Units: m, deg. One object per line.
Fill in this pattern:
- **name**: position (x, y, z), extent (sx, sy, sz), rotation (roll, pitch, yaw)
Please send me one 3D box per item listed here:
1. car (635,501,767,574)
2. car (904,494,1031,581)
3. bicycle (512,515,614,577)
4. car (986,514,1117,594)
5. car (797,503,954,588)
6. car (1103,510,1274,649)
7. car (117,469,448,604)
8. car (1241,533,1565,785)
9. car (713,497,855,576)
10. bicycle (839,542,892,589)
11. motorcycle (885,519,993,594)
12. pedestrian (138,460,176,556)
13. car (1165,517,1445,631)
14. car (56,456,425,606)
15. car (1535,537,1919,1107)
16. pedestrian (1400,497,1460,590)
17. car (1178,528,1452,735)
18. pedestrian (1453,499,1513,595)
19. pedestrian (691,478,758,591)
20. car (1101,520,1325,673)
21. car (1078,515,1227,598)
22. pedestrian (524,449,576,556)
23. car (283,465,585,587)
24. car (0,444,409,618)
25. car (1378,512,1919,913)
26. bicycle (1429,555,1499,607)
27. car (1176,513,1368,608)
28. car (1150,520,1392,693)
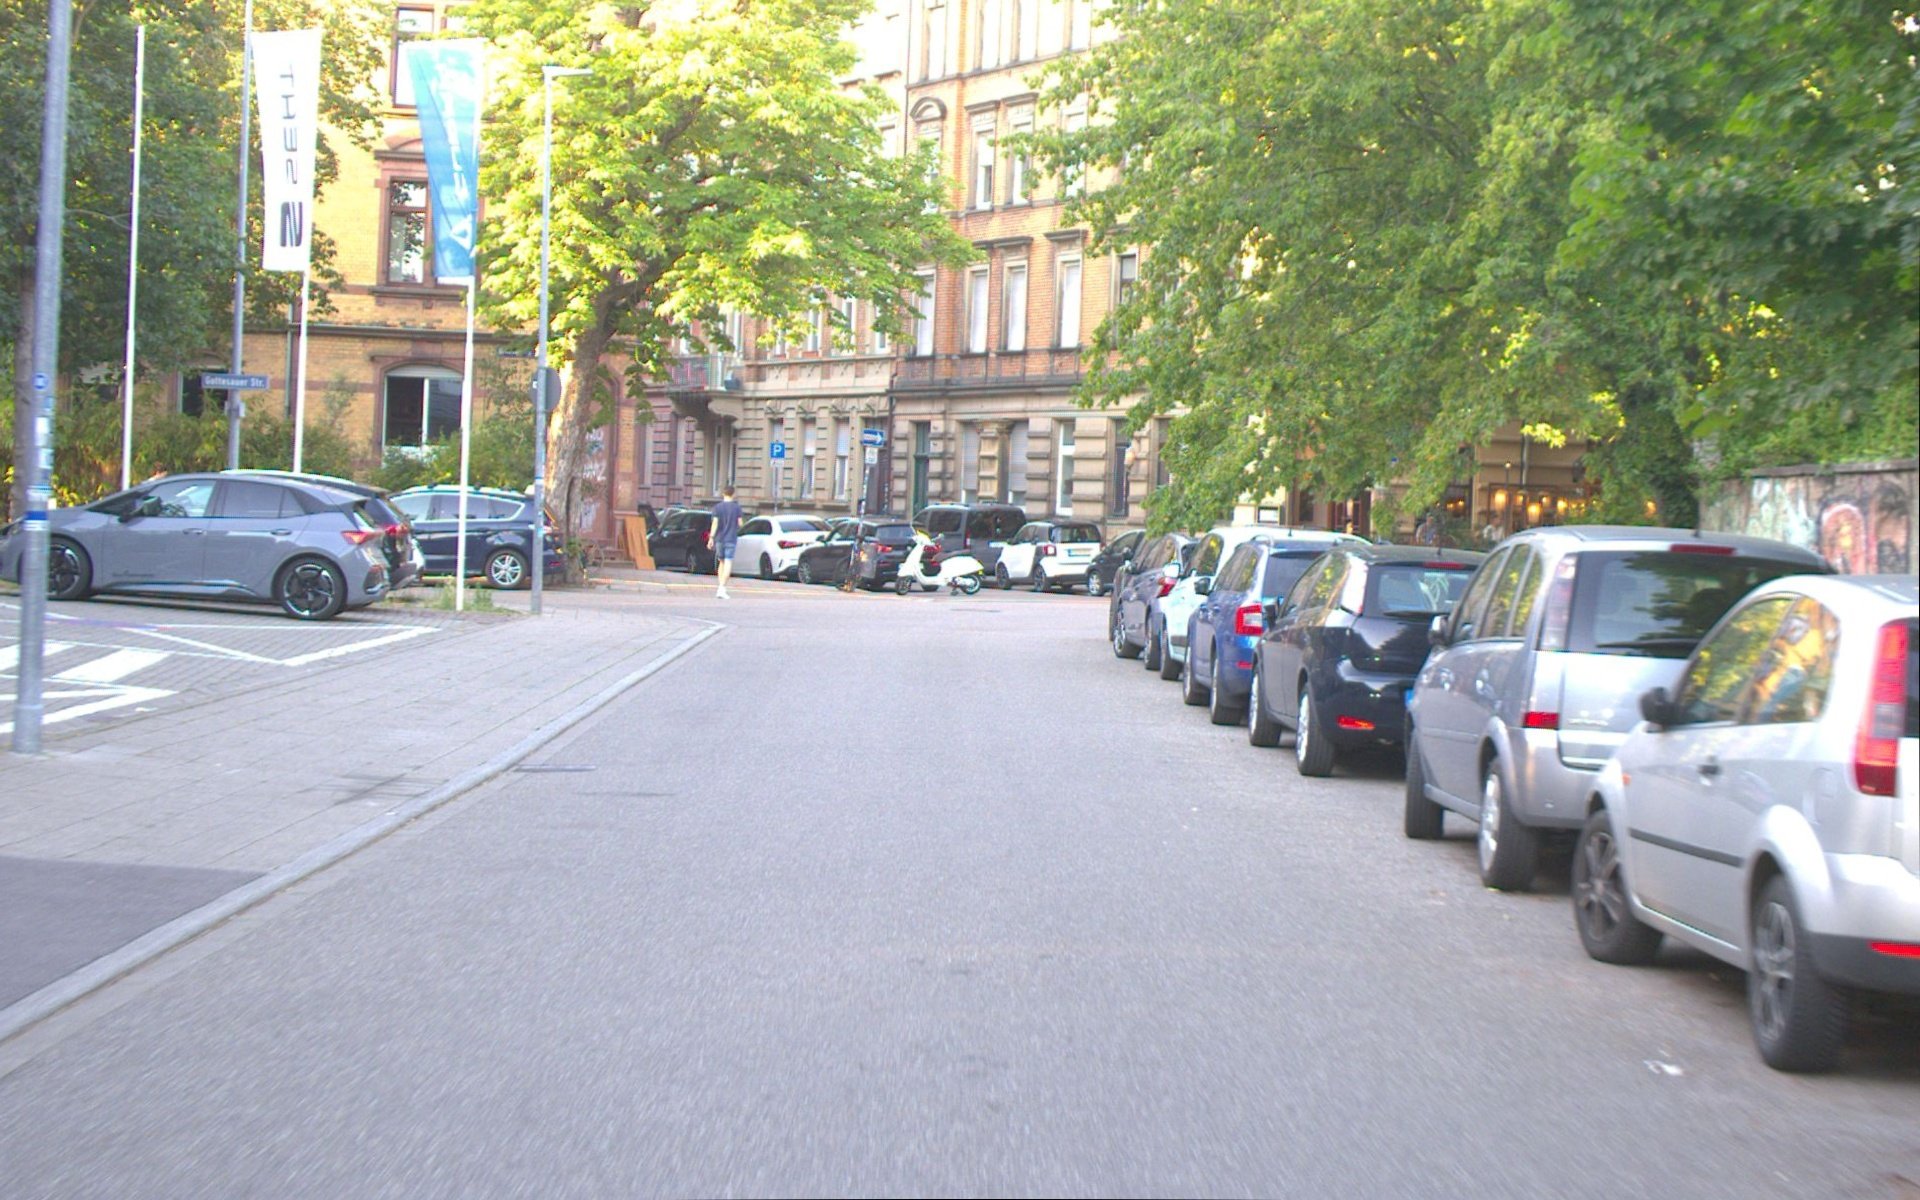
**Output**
- **car**: position (-5.871, -1.426, 77.620), extent (1.654, 1.426, 3.897), rotation (2, 3, -25)
- **car**: position (0.145, -1.416, 77.281), extent (1.674, 1.776, 3.016), rotation (2, 2, -25)
- **bicycle**: position (-6.930, -0.944, 60.015), extent (1.671, 1.024, 0.446), rotation (1, 2, -24)
- **car**: position (1.946, -0.997, 73.774), extent (1.674, 1.520, 2.768), rotation (2, 2, -25)
- **car**: position (-1.722, -1.107, 68.675), extent (1.654, 1.426, 3.991), rotation (2, 3, -24)
- **car**: position (2.755, -0.294, 42.197), extent (1.695, 1.565, 3.972), rotation (2, 1, -1)
- **car**: position (-8.993, -0.860, 45.902), extent (4.045, 1.470, 1.921), rotation (4, 2, -4)
- **car**: position (2.899, 0.330, 23.189), extent (1.596, 1.471, 3.774), rotation (2, 1, -1)
- **car**: position (-3.772, -1.369, 73.127), extent (1.654, 1.426, 4.169), rotation (2, 3, -23)
- **bicycle**: position (-1.736, -0.644, 63.350), extent (0.425, 0.819, 1.460), rotation (3, 3, 21)
- **motorcycle**: position (-0.397, -0.827, 65.462), extent (1.931, 1.336, 0.577), rotation (2, 2, -11)
- **pedestrian**: position (-13.924, -1.597, 59.639), extent (0.542, 1.629, 0.448), rotation (2, 2, -5)
- **car**: position (4.954, -0.359, 49.012), extent (1.880, 1.461, 3.961), rotation (5, 3, 43)
- **car**: position (-8.630, -0.853, 41.464), extent (4.066, 1.612, 1.766), rotation (2, 2, -2)
- **car**: position (3.131, 0.594, 11.216), extent (1.759, 1.436, 3.874), rotation (2, 2, -1)
- **pedestrian**: position (9.308, -1.128, 68.141), extent (0.840, 1.797, 0.776), rotation (1, 2, -21)
- **car**: position (2.795, 0.191, 27.879), extent (1.695, 1.471, 4.117), rotation (2, 1, -1)
- **pedestrian**: position (10.070, -1.016, 66.211), extent (0.773, 1.797, 0.843), rotation (2, 2, -15)
- **pedestrian**: position (-3.876, -1.088, 56.503), extent (0.735, 1.797, 1.122), rotation (1, 2, -21)
- **car**: position (2.673, -0.085, 37.166), extent (1.695, 1.471, 4.213), rotation (2, 1, -5)
- **car**: position (3.910, -0.909, 70.304), extent (1.674, 1.520, 3.245), rotation (1, 3, -25)
- **pedestrian**: position (-7.249, -1.725, 60.826), extent (0.815, 1.846, 0.803), rotation (2, 2, -5)
- **car**: position (-8.730, -1.249, 57.372), extent (4.828, 1.726, 1.921), rotation (3, 2, -6)
- **car**: position (-8.406, -0.796, 38.480), extent (4.129, 1.612, 1.914), rotation (4, 2, -2)
- **car**: position (3.140, 0.419, 16.222), extent (1.759, 1.598, 3.874), rotation (2, 1, -1)
- **bicycle**: position (9.464, -0.363, 64.617), extent (0.319, 0.911, 1.364), rotation (0, 3, -42)
- **car**: position (5.929, -0.767, 65.766), extent (1.914, 1.520, 3.897), rotation (2, 3, -25)
- **car**: position (2.906, 0.019, 32.758), extent (1.695, 1.471, 3.560), rotation (2, 1, -4)
